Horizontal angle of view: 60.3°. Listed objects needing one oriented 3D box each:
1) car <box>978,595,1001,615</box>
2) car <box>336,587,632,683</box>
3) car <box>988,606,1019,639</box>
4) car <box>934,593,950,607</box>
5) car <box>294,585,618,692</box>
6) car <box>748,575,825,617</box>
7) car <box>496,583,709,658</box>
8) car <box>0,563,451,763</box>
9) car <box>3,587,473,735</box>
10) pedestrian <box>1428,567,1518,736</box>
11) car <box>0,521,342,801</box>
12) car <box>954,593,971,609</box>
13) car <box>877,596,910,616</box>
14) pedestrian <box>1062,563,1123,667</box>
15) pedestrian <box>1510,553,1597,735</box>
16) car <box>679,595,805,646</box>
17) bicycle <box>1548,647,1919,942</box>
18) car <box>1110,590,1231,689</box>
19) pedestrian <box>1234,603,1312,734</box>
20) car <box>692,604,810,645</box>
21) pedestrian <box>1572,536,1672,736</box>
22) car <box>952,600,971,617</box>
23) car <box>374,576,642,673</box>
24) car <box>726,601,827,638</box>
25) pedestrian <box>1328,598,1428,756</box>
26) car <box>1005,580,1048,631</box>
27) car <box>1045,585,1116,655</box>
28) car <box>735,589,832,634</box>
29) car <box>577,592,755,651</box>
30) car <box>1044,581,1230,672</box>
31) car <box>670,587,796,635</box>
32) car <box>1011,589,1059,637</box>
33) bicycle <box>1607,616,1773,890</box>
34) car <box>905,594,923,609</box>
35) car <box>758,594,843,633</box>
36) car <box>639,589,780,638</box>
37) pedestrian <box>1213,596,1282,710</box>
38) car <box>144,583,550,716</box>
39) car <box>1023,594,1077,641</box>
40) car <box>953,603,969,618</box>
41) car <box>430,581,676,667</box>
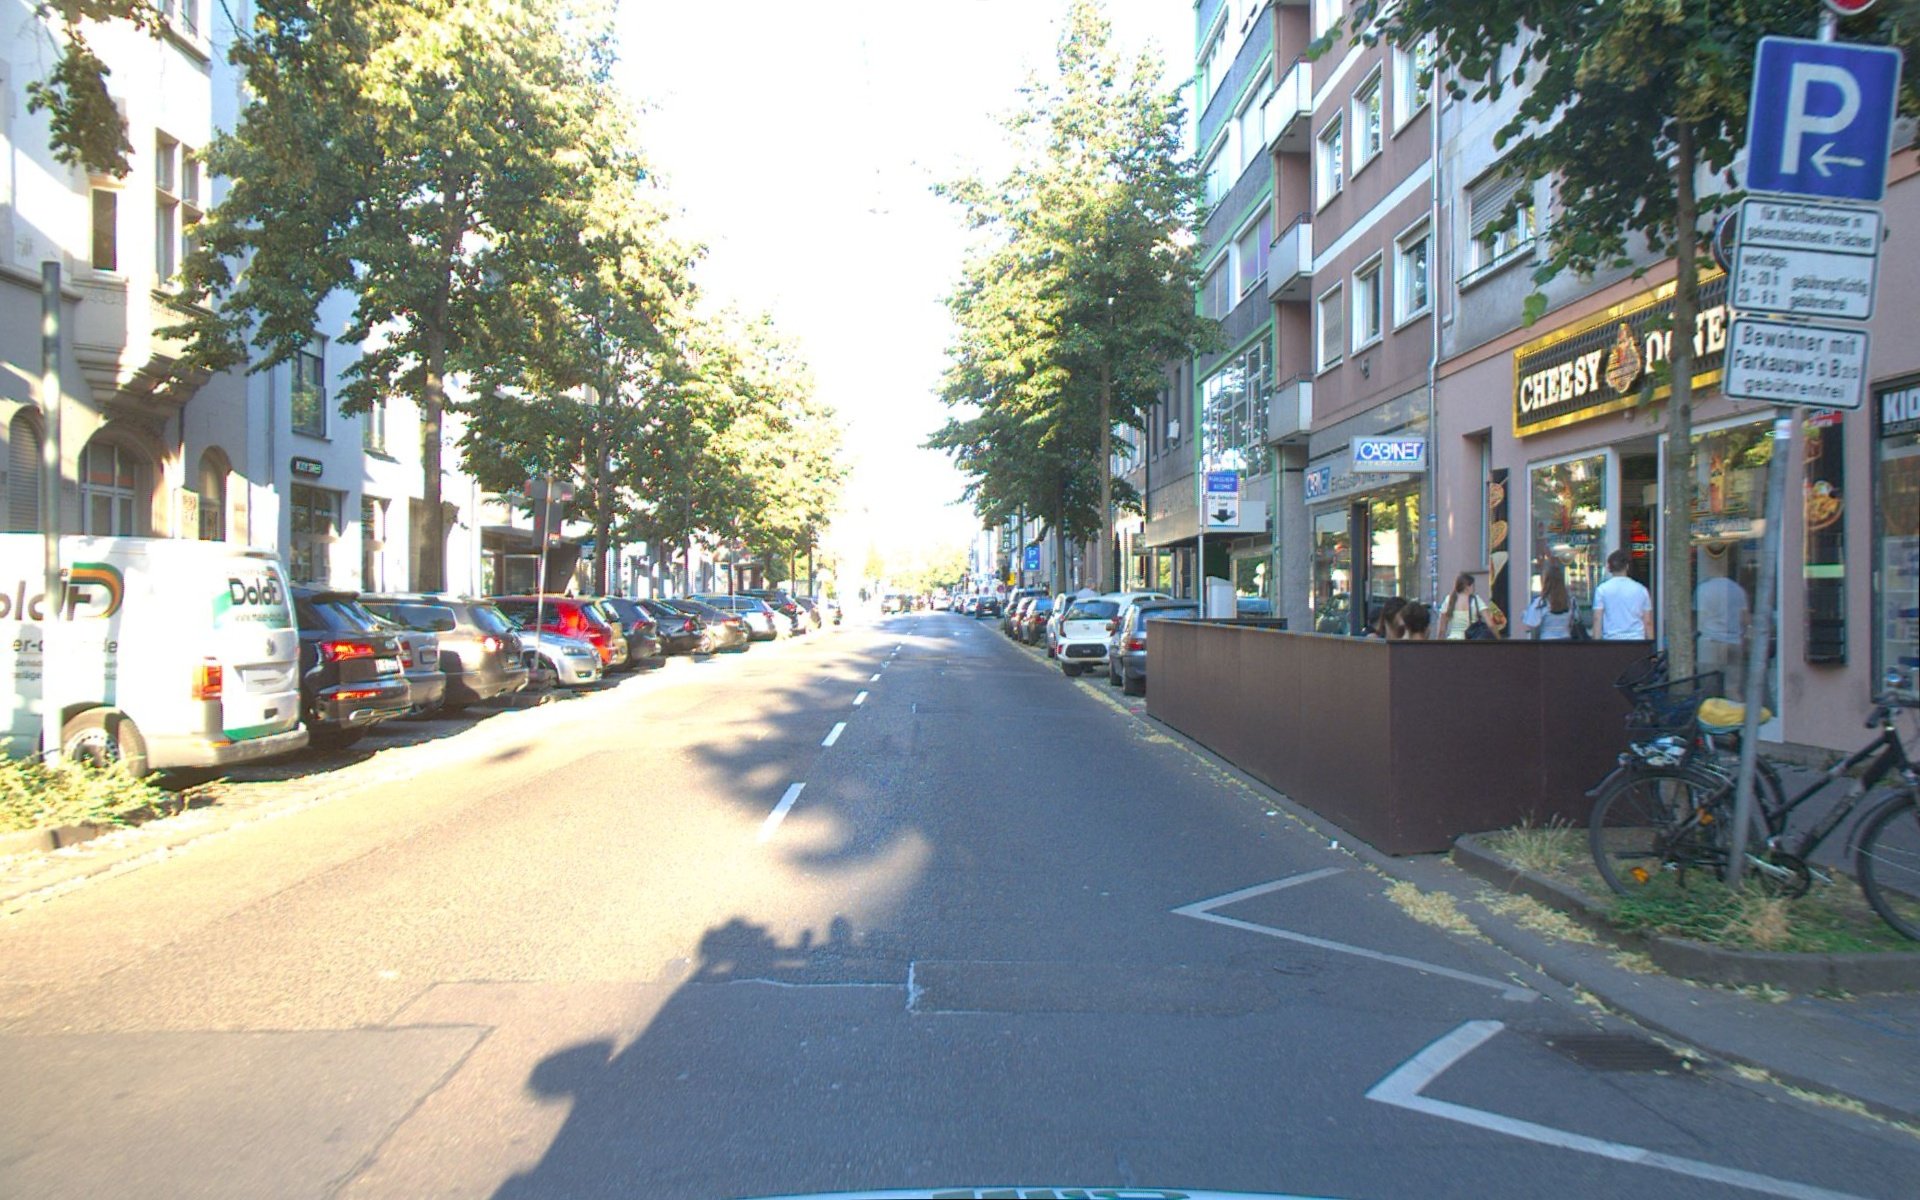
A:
[{"bbox_3d":[1.992,0.360,111.093,1.482,1.298,3.303,0,0,0],"label":"car"},{"bbox_3d":[-7.831,0.569,27.494,4.351,1.484,1.859,1,0,-1],"label":"car"},{"bbox_3d":[2.137,1.084,81.728,1.482,1.589,3.773,0,0,0],"label":"car"},{"bbox_3d":[-1.906,-0.015,177.251,1.685,1.501,3.303,0,0,0],"label":"car"},{"bbox_3d":[-7.582,0.569,25.193,4.351,1.510,1.809,1,0,-1],"label":"car"},{"bbox_3d":[-10.306,-0.238,98.499,4.351,2.477,1.919,0,0,-1],"label":"car"},{"bbox_3d":[-7.977,0.460,37.193,4.351,1.595,1.919,1,0,-1],"label":"car"},{"bbox_3d":[-7.362,0.550,15.570,4.478,1.727,2.060,1,0,0],"label":"car"},{"bbox_3d":[-7.799,0.642,18.172,4.351,1.493,1.779,1,0,-1],"label":"car"},{"bbox_3d":[5.181,0.503,16.756,0.779,1.654,0.913,0,0,11],"label":"pedestrian"},{"bbox_3d":[-7.440,0.428,12.873,4.479,1.996,1.990,1,0,-1],"label":"car"},{"bbox_3d":[0.249,0.101,163.093,1.716,1.567,3.303,0,0,0],"label":"car"},{"bbox_3d":[-5.438,0.513,135.009,1.886,1.599,3.306,0,0,13],"label":"car"},{"bbox_3d":[2.550,0.288,31.947,0.900,1.959,1.015,1,0,-11],"label":"pedestrian"},{"bbox_3d":[5.737,0.411,16.018,0.617,1.709,0.892,0,0,7],"label":"pedestrian"},{"bbox_3d":[-8.010,0.752,61.086,4.351,1.790,1.919,1,0,-1],"label":"car"},{"bbox_3d":[3.513,0.767,6.880,1.918,1.092,0.704,0,0,31],"label":"bicycle"},{"bbox_3d":[3.283,0.592,26.330,1.511,1.458,3.678,0,0,1],"label":"car"},{"bbox_3d":[3.440,0.740,18.233,0.711,1.402,0.781,0,0,-1],"label":"pedestrian"},{"bbox_3d":[-8.078,0.937,64.204,4.351,1.525,1.919,1,0,-1],"label":"car"},{"bbox_3d":[6.262,0.325,15.680,0.683,1.836,0.892,0,0,7],"label":"pedestrian"},{"bbox_3d":[0.118,0.665,129.249,1.482,1.285,3.303,0,0,0],"label":"car"},{"bbox_3d":[-8.192,0.443,30.245,4.351,1.667,1.859,1,0,-1],"label":"car"},{"bbox_3d":[-8.318,0.867,75.292,4.351,1.606,1.919,1,0,-1],"label":"car"},{"bbox_3d":[3.803,0.680,15.090,0.711,1.402,0.781,0,0,-1],"label":"pedestrian"},{"bbox_3d":[2.541,0.218,63.879,1.482,1.897,4.235,0,0,0],"label":"car"},{"bbox_3d":[2.859,0.468,39.657,1.482,1.605,3.218,0,0,0],"label":"car"},{"bbox_3d":[-8.305,0.518,78.119,4.351,2.051,1.919,1,0,-1],"label":"car"},{"bbox_3d":[-7.724,0.562,43.719,4.351,1.474,1.919,1,0,-1],"label":"car"},{"bbox_3d":[3.421,0.482,31.570,1.645,1.616,3.801,1,0,41],"label":"car"},{"bbox_3d":[-8.051,0.390,58.987,4.216,1.626,1.919,1,0,-1],"label":"car"},{"bbox_3d":[2.561,0.453,56.970,1.482,1.589,3.513,0,0,0],"label":"car"},{"bbox_3d":[3.633,0.691,8.343,0.585,1.198,1.847,0,0,18],"label":"bicycle"},{"bbox_3d":[-4.724,0.173,171.333,1.716,1.567,3.303,0,0,0],"label":"car"},{"bbox_3d":[-8.476,0.708,88.305,4.351,1.994,1.919,0,0,-1],"label":"car"},{"bbox_3d":[-8.226,0.447,54.647,4.351,1.549,1.919,1,0,-1],"label":"car"},{"bbox_3d":[3.583,0.647,20.639,0.711,1.402,0.781,0,0,-1],"label":"pedestrian"},{"bbox_3d":[-7.539,0.591,20.647,4.351,1.533,1.844,1,0,-1],"label":"car"},{"bbox_3d":[2.796,0.539,51.884,1.482,1.430,3.836,0,0,0],"label":"car"},{"bbox_3d":[0.093,0.940,152.043,1.482,1.321,3.303,0,0,0],"label":"car"},{"bbox_3d":[-7.940,0.466,32.565,4.351,1.595,1.919,1,0,-1],"label":"car"}]
